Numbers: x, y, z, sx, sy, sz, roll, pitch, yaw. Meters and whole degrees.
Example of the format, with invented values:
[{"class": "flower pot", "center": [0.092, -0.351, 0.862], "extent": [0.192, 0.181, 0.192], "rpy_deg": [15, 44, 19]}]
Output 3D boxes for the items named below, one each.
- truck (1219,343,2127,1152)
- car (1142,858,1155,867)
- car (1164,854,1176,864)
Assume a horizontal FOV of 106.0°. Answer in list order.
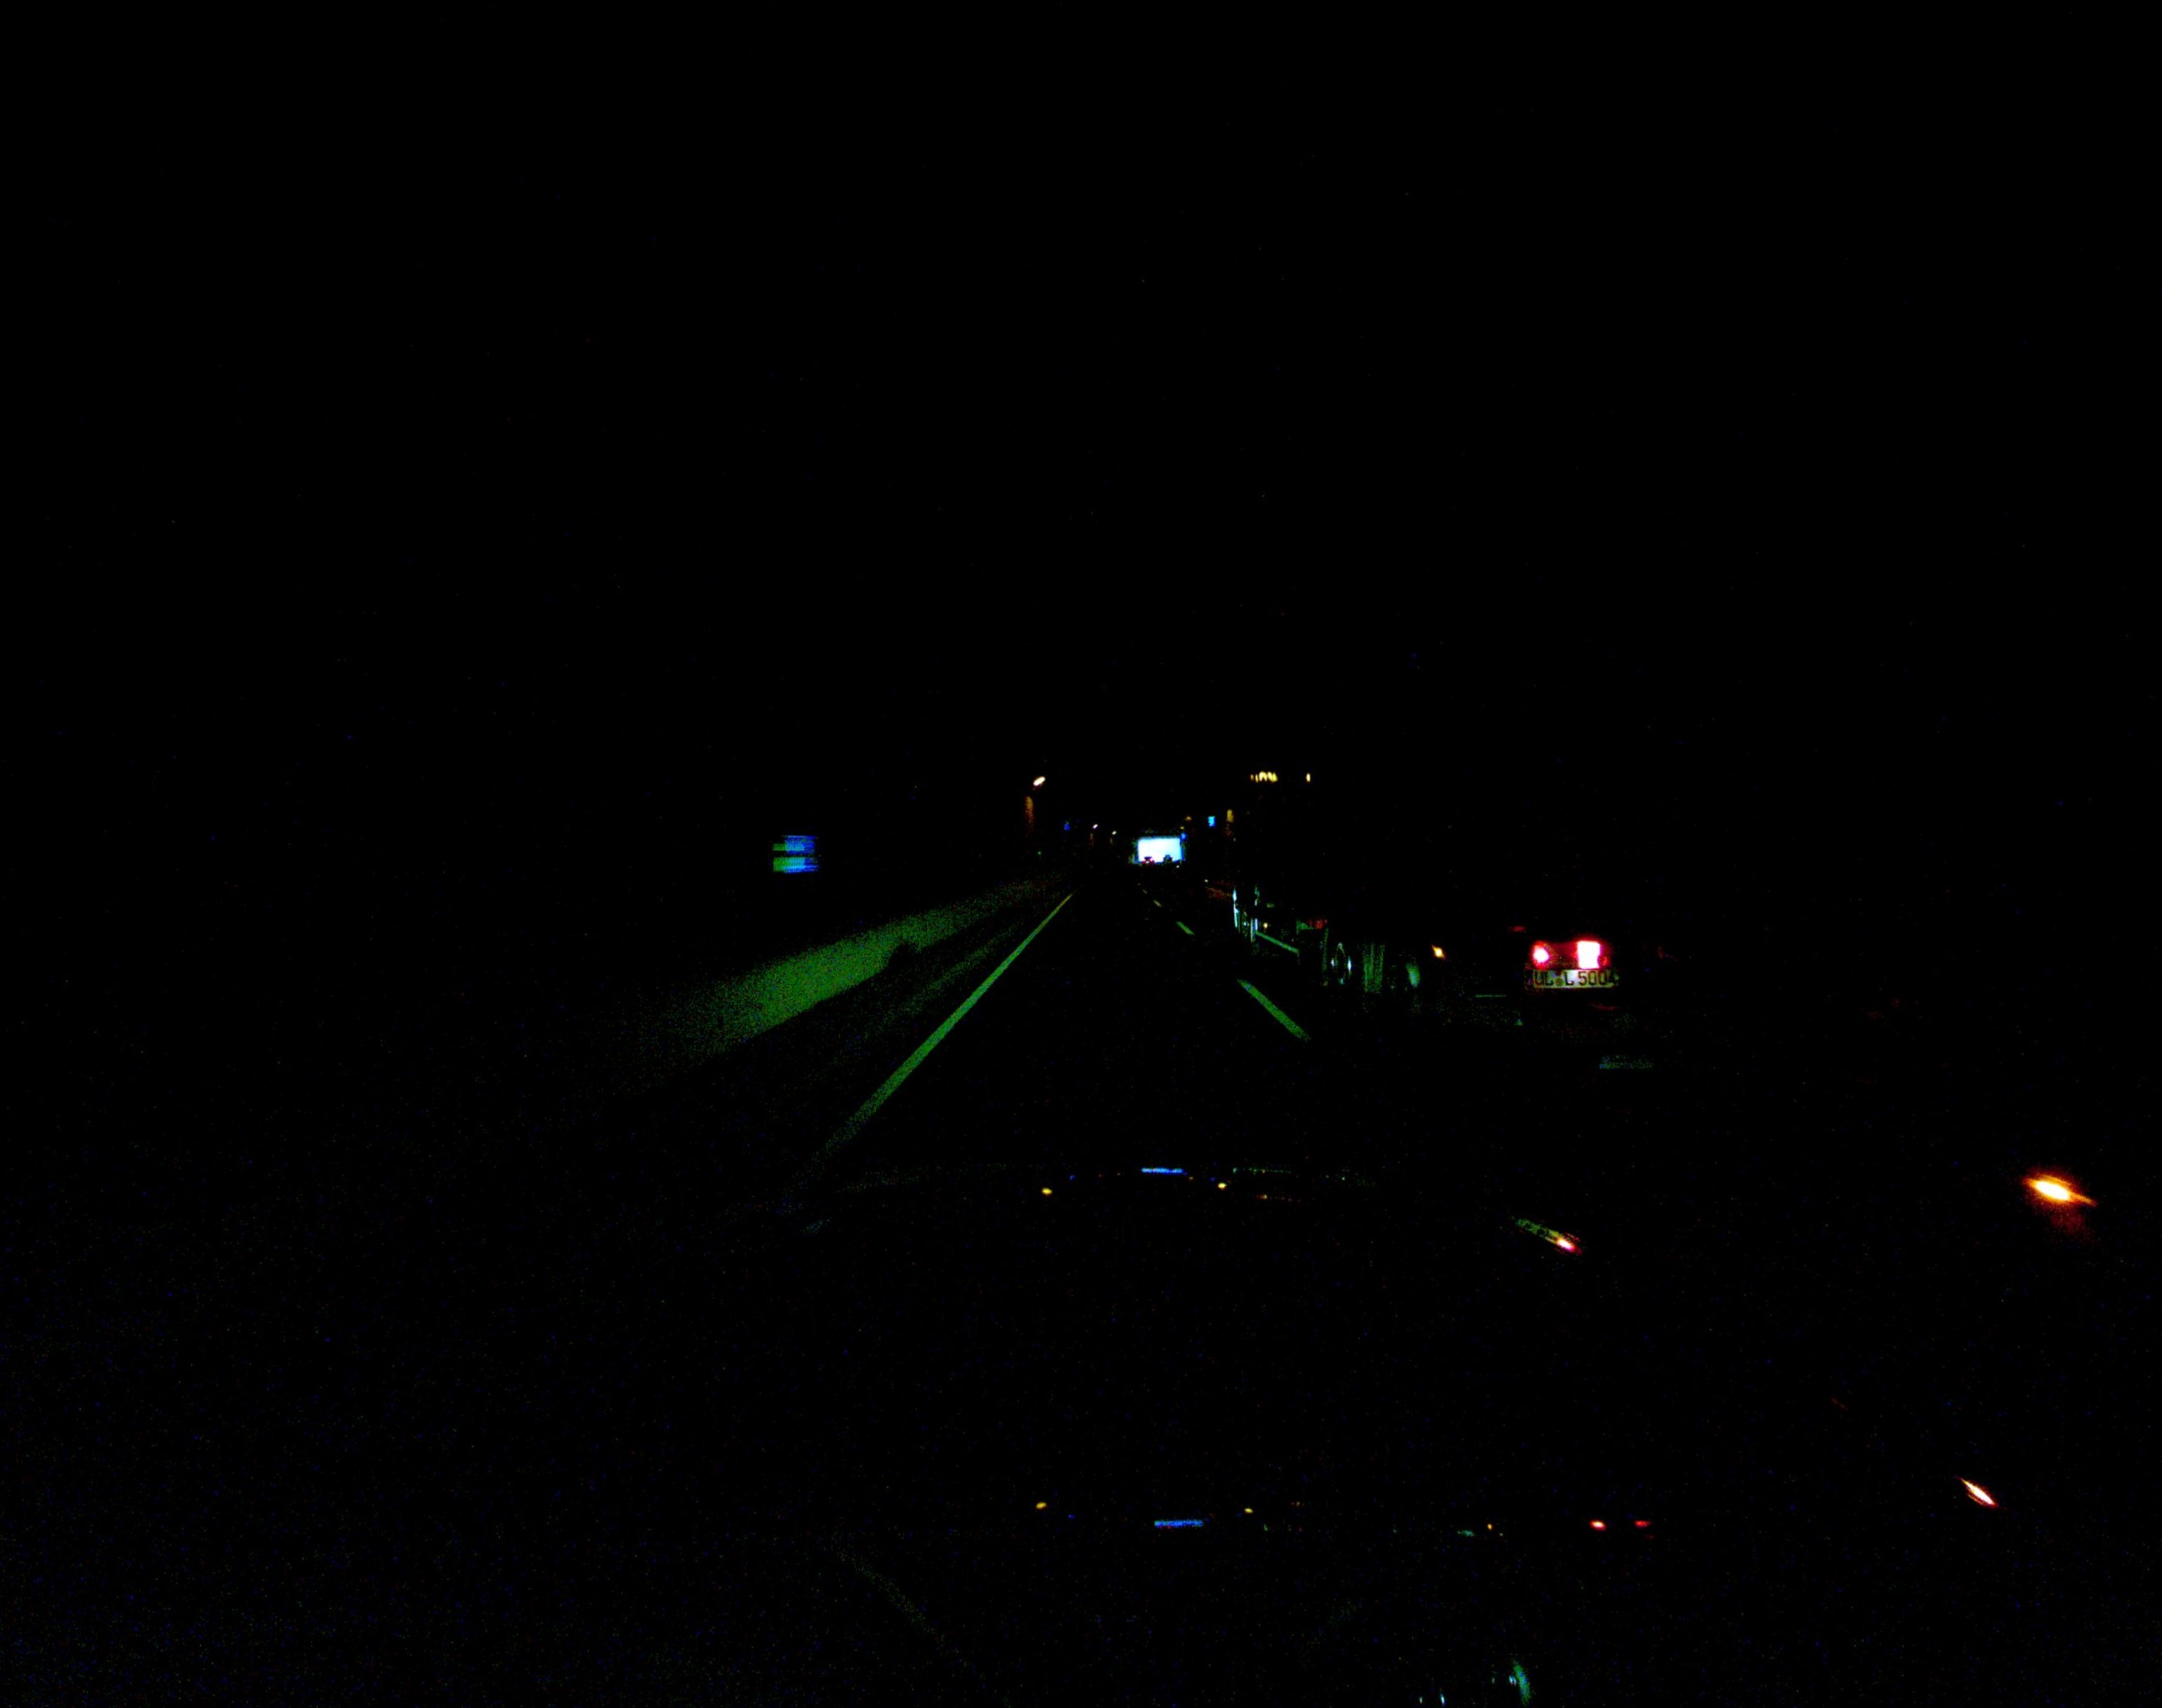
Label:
[{"class": "truck", "center": [3.726, -0.523, 8.939], "extent": [2.878, 3.913, 9.911], "rpy_deg": [-1, 0, 1]}, {"class": "car", "center": [10.832, 1.335, 130.382], "extent": [1.830, 1.388, 4.010], "rpy_deg": [-1, -1, 9]}, {"class": "car", "center": [16.375, 0.954, 149.321], "extent": [1.857, 1.732, 4.012], "rpy_deg": [-1, -1, 11]}]
